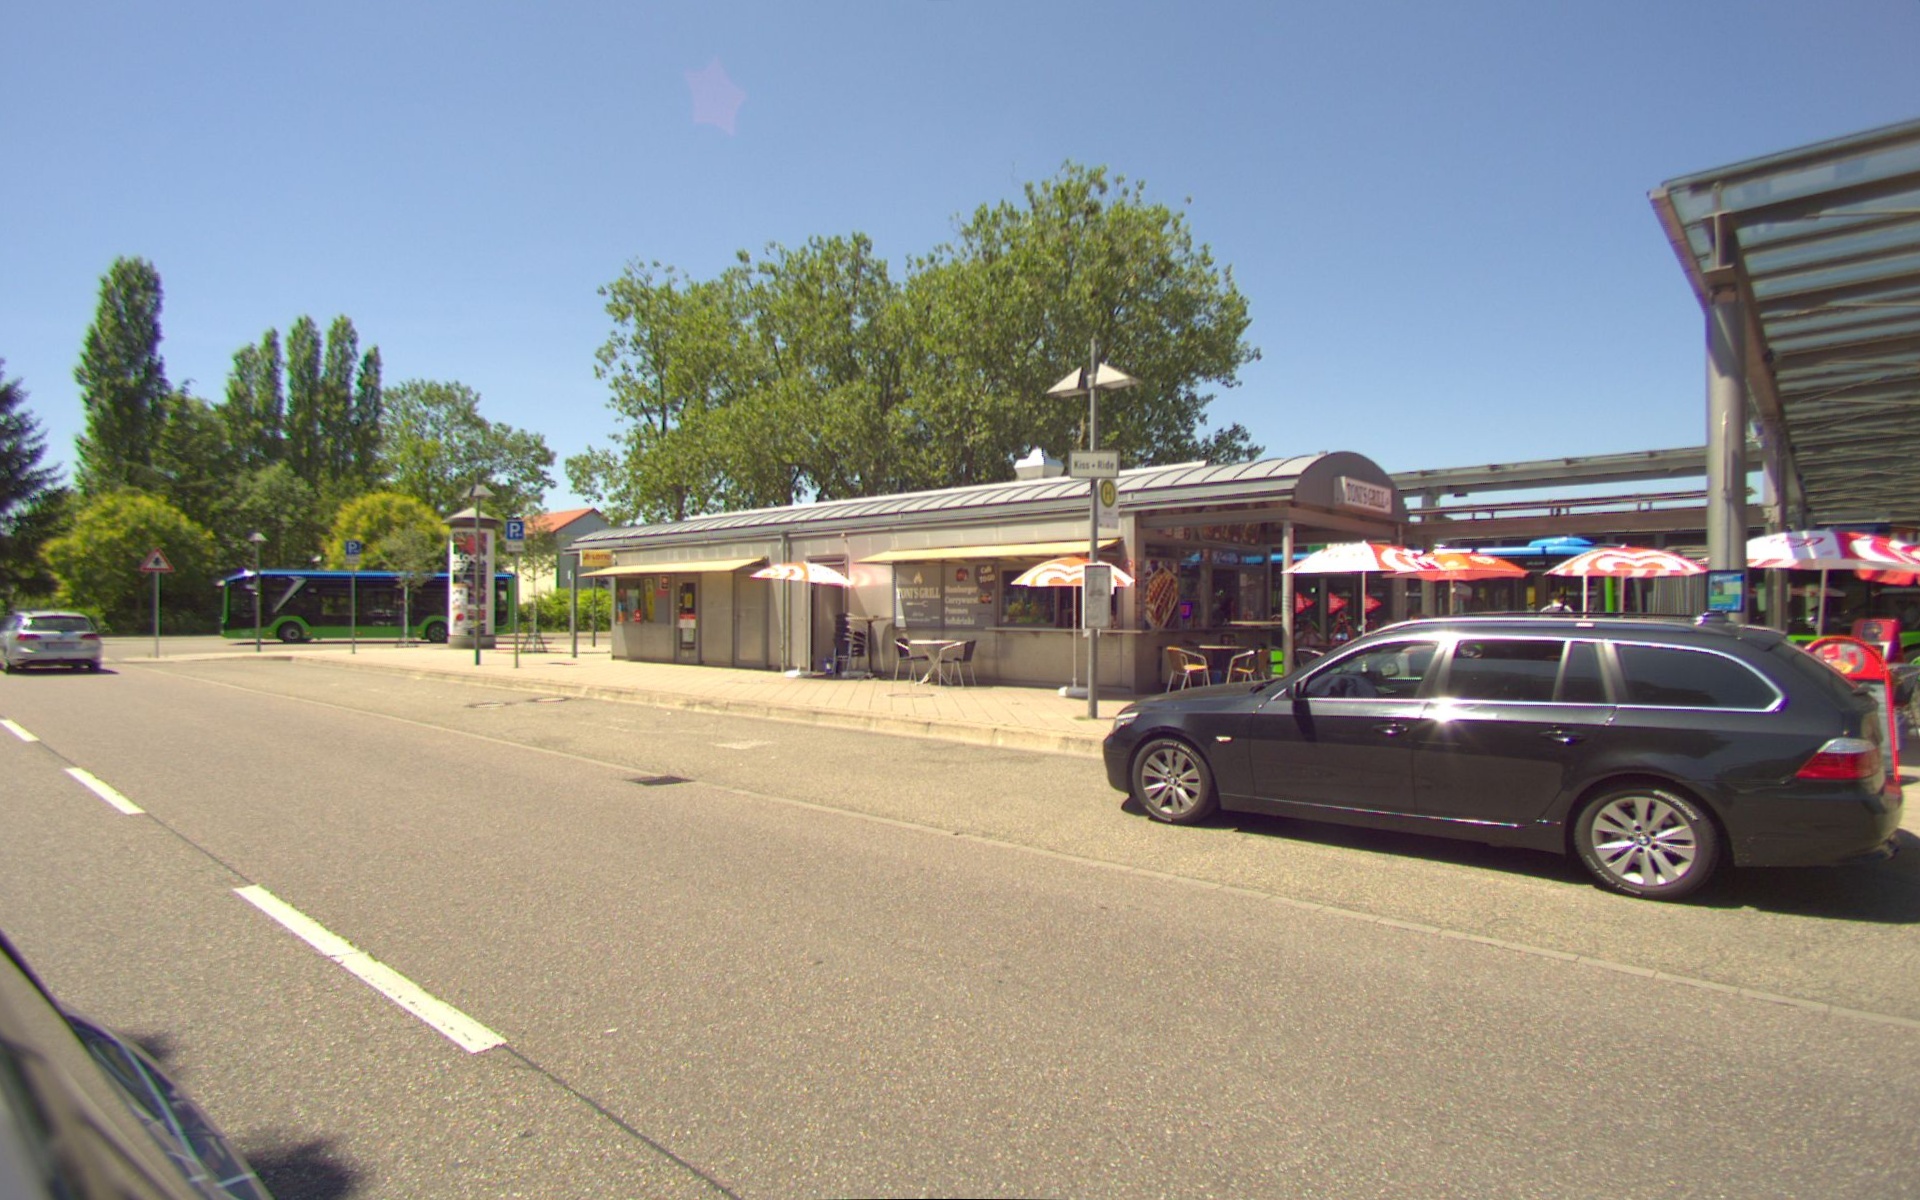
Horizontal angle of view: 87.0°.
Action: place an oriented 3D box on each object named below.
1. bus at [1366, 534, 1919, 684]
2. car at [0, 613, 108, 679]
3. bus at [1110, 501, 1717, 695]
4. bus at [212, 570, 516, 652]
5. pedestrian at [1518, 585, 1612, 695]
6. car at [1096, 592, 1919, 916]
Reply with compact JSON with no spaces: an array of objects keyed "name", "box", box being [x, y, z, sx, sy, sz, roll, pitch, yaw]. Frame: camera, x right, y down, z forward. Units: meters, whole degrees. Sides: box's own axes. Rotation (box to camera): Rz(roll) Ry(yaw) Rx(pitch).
[{"name":"bus","box":[17.976,0.256,24.117,15.521,3.060,2.835,-1,-2,44]},{"name":"car","box":[-22.042,1.075,24.335,4.157,1.455,1.795,-2,-2,42]},{"name":"bus","box":[9.033,0.074,22.191,11.848,3.258,2.933,-1,-2,43]},{"name":"bus","box":[-27.297,0.456,47.056,12.013,3.553,2.176,0,-1,-17]},{"name":"pedestrian","box":[10.569,0.679,17.705,0.788,1.841,1.146,1,0,-32]},{"name":"car","box":[3.382,0.737,6.677,4.782,1.489,1.701,-1,-1,40]}]
